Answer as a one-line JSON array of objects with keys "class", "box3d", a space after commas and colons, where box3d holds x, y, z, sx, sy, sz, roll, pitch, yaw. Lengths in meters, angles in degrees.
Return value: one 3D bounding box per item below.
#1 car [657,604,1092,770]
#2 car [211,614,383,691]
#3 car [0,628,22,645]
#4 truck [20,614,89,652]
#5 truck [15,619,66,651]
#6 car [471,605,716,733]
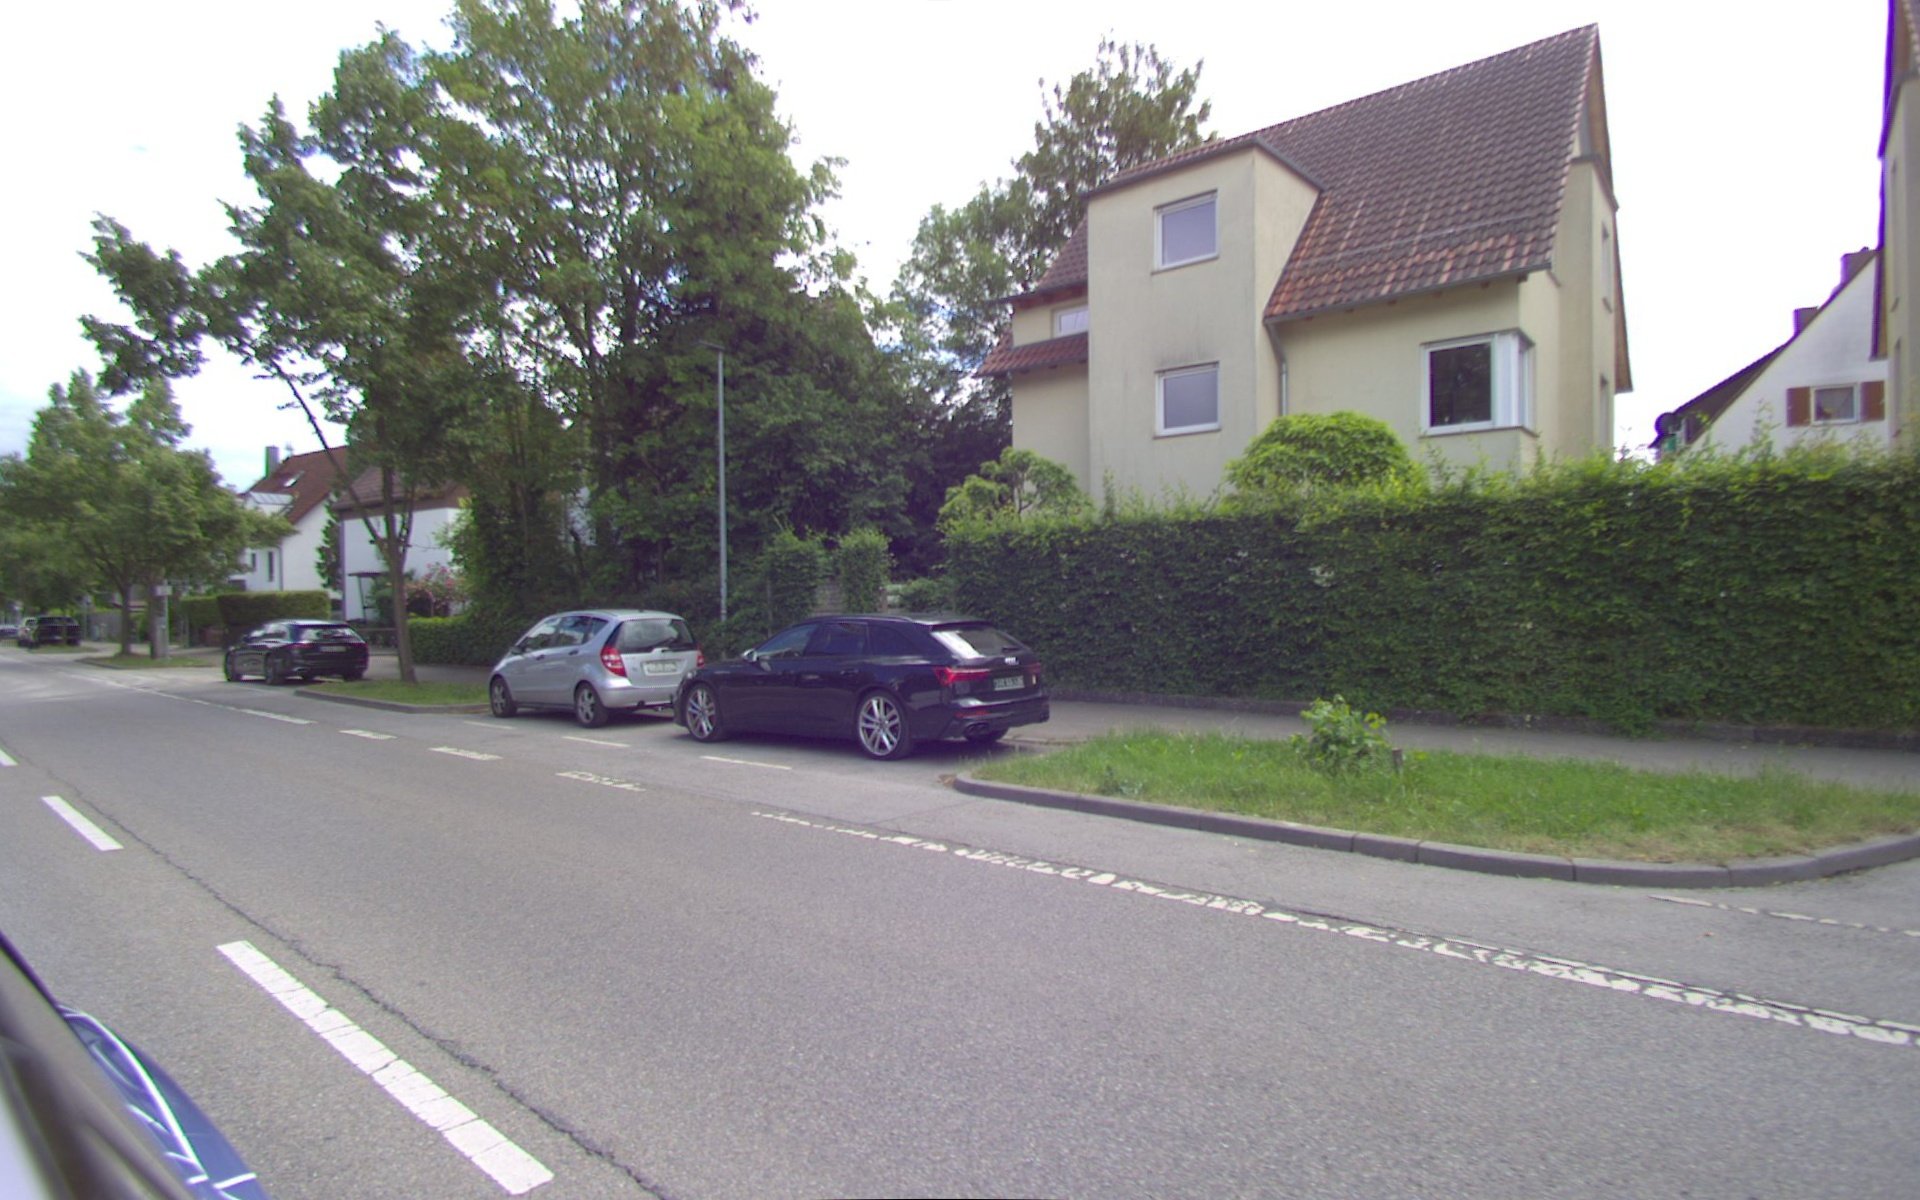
[{"class": "car", "box3d": [-1.128, 0.838, 11.427, 4.884, 1.496, 1.974, -1, -1, 39]}, {"class": "car", "box3d": [-16.018, 1.216, 24.345, 5.033, 1.659, 2.074, -2, -2, 40]}, {"class": "car", "box3d": [-78.456, 2.973, 83.075, 4.927, 1.419, 1.727, -1, -2, 43]}, {"class": "truck", "box3d": [-52.223, 1.882, 58.321, 5.995, 2.059, 2.397, -2, -1, 43]}, {"class": "truck", "box3d": [-57.422, 2.154, 63.169, 5.665, 1.882, 1.945, -1, -2, 44]}, {"class": "car", "box3d": [-5.459, 0.923, 14.852, 3.908, 1.625, 1.700, -1, -1, 41]}]
